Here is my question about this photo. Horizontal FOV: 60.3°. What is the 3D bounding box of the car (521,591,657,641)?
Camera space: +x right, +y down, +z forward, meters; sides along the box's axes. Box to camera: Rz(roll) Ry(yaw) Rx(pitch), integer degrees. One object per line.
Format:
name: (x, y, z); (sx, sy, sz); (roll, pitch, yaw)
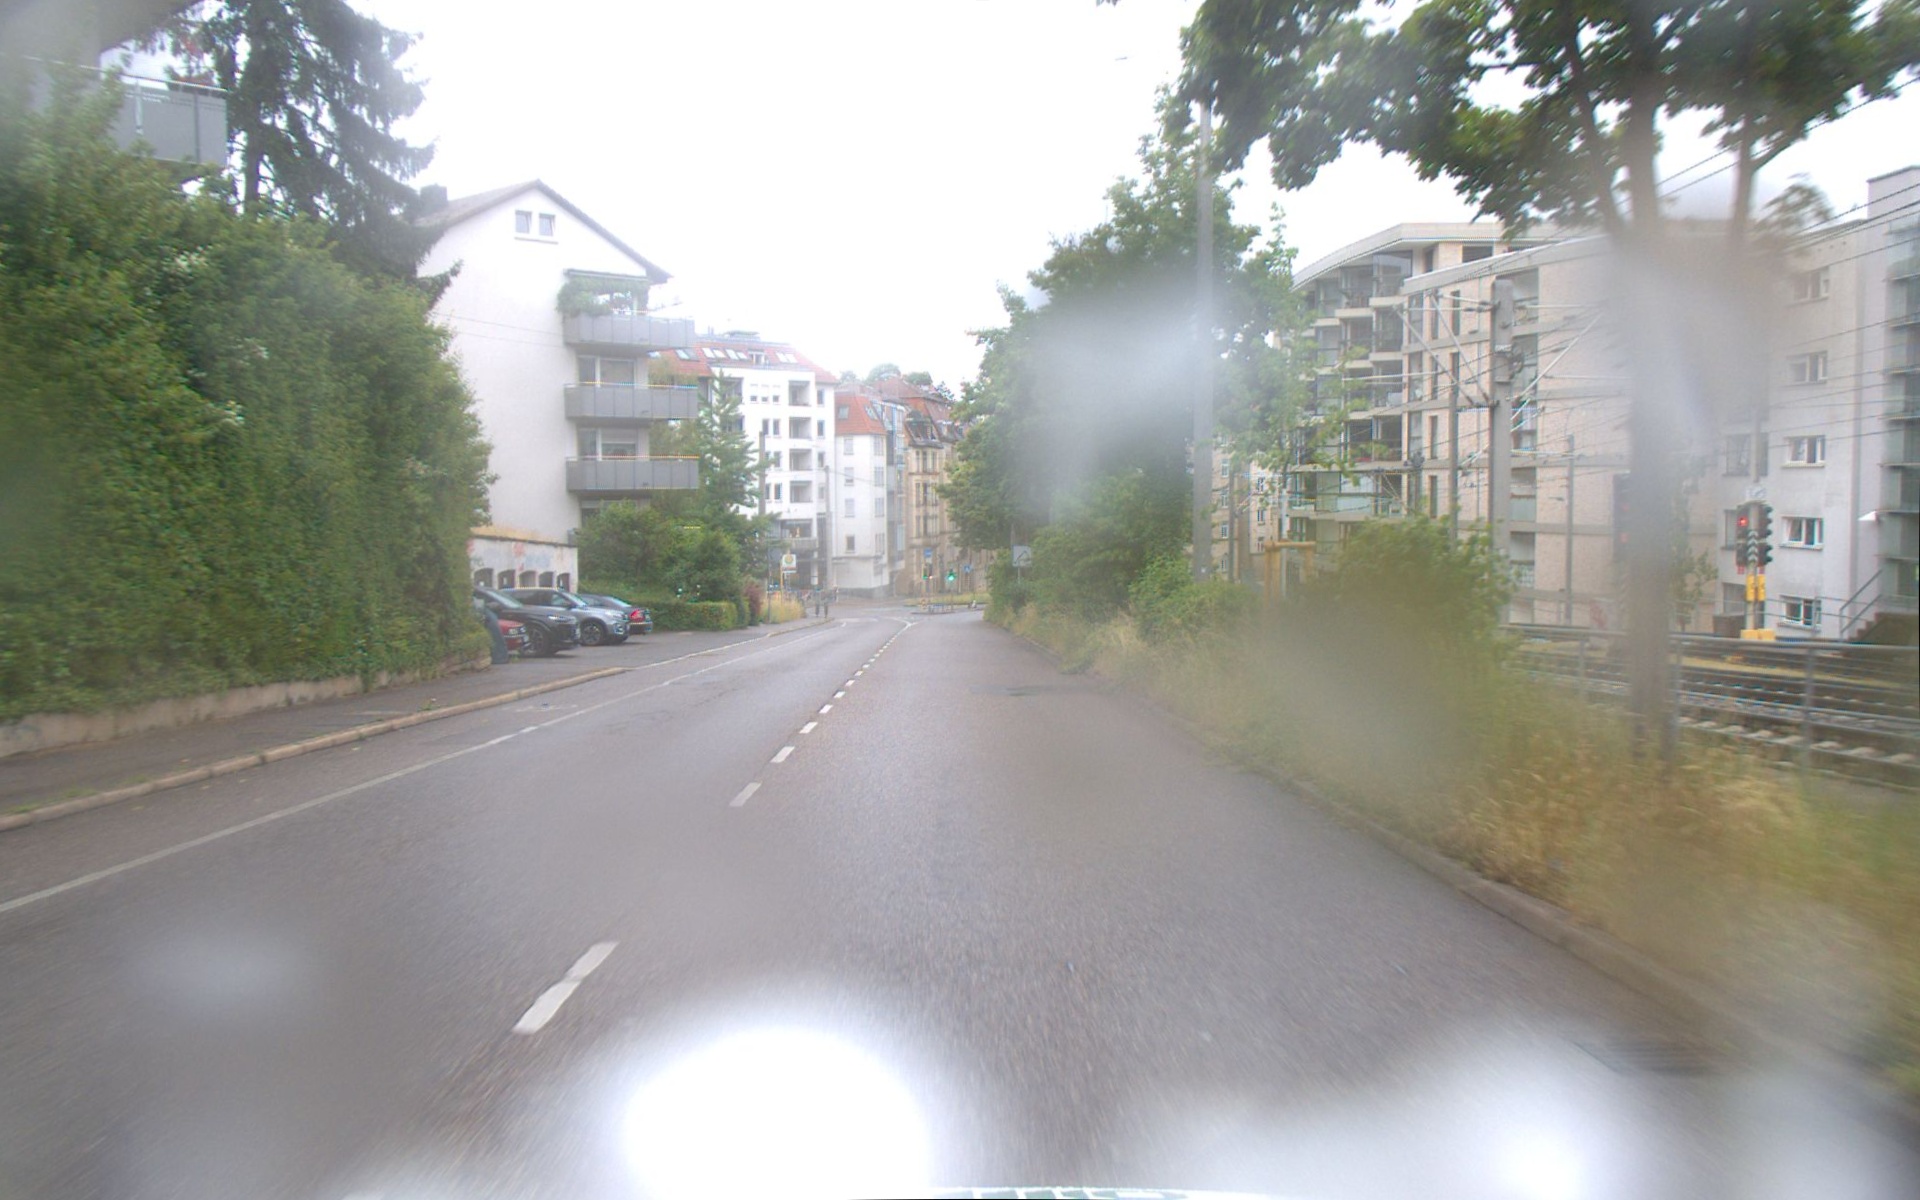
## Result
car: (-10.907, 0.468, 48.785); (3.556, 1.432, 1.784); (0, -1, 1)

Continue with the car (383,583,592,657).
car: (-10.953, 0.458, 38.565); (4.359, 1.630, 1.814); (0, 1, -2)

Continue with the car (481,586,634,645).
car: (-11.276, 0.436, 46.511); (3.909, 1.587, 1.878); (0, -1, -5)

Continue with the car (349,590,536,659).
car: (-11.112, 0.530, 35.718); (3.562, 1.430, 1.714); (0, -1, -7)

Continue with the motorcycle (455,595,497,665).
motorcycle: (-9.585, 0.589, 32.822); (0.606, 1.344, 2.313); (0, -1, -12)

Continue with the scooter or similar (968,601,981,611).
scooter or similar: (1.069, 0.435, 122.412); (0.475, 0.775, 1.328); (0, 0, 27)
